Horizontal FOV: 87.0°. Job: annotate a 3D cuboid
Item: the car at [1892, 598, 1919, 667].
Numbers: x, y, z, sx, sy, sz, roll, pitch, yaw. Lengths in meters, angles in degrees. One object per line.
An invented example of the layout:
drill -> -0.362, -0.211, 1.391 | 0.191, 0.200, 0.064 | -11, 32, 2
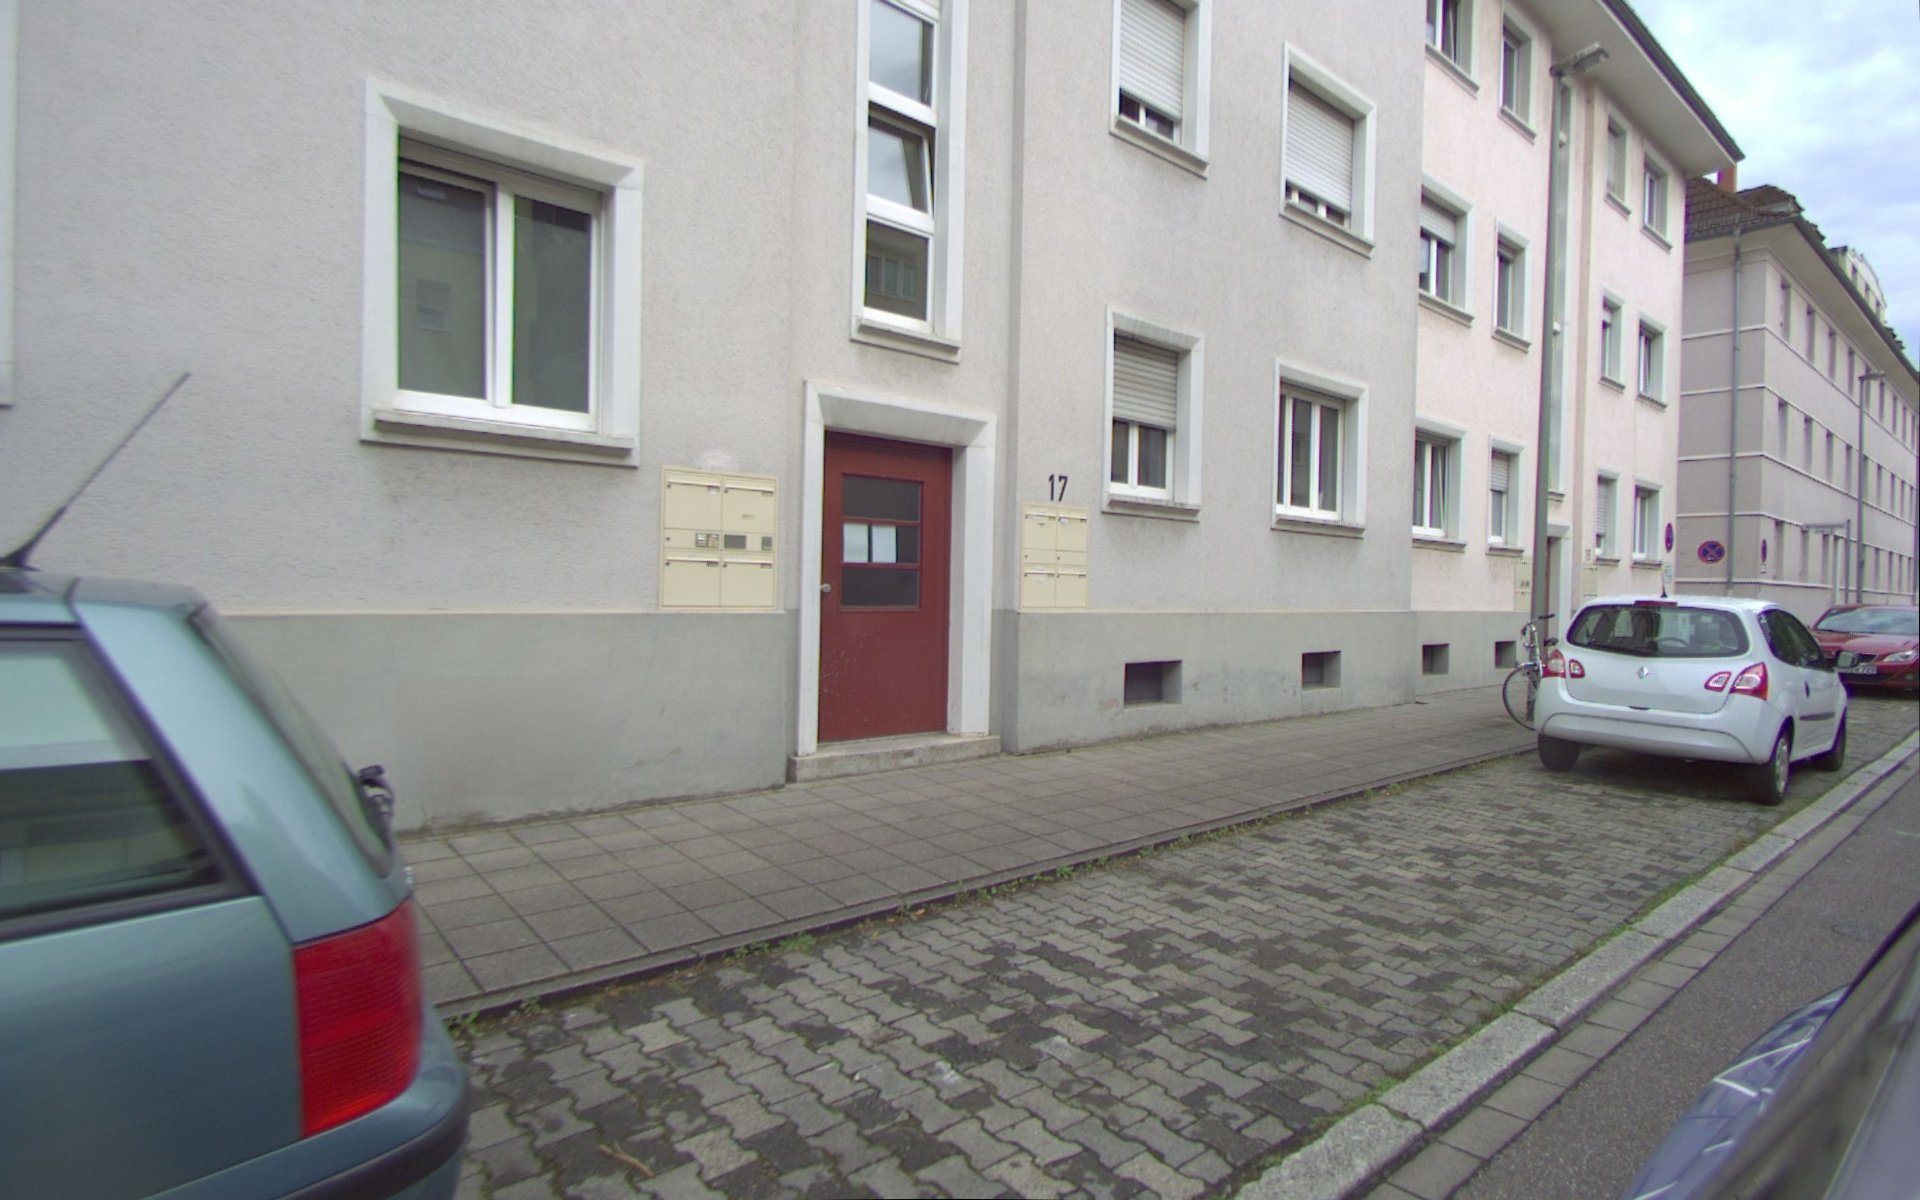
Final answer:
car -> 22.585, 0.731, 22.875 | 3.969, 1.482, 1.791 | 1, 1, -41

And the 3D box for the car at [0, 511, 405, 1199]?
car -> -2.889, 0.619, 0.633 | 4.190, 1.487, 1.728 | 0, 1, -41

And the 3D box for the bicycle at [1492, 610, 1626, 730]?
bicycle -> 6.450, 0.696, 10.849 | 2.088, 1.154, 0.606 | 0, 1, -41

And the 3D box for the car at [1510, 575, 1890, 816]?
car -> 6.487, 0.641, 8.746 | 3.737, 1.619, 1.787 | 1, 1, -40

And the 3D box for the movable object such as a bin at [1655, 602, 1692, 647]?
movable object such as a bin -> 17.657, 0.598, 25.052 | 0.692, 1.055, 0.550 | 1, 1, -38

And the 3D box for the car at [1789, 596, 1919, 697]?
car -> 14.939, 0.686, 16.339 | 3.867, 1.427, 1.757 | 1, 1, -41

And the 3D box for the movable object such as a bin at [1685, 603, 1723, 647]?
movable object such as a bin -> 18.160, 0.602, 24.705 | 0.692, 1.055, 0.550 | 1, 1, -38
